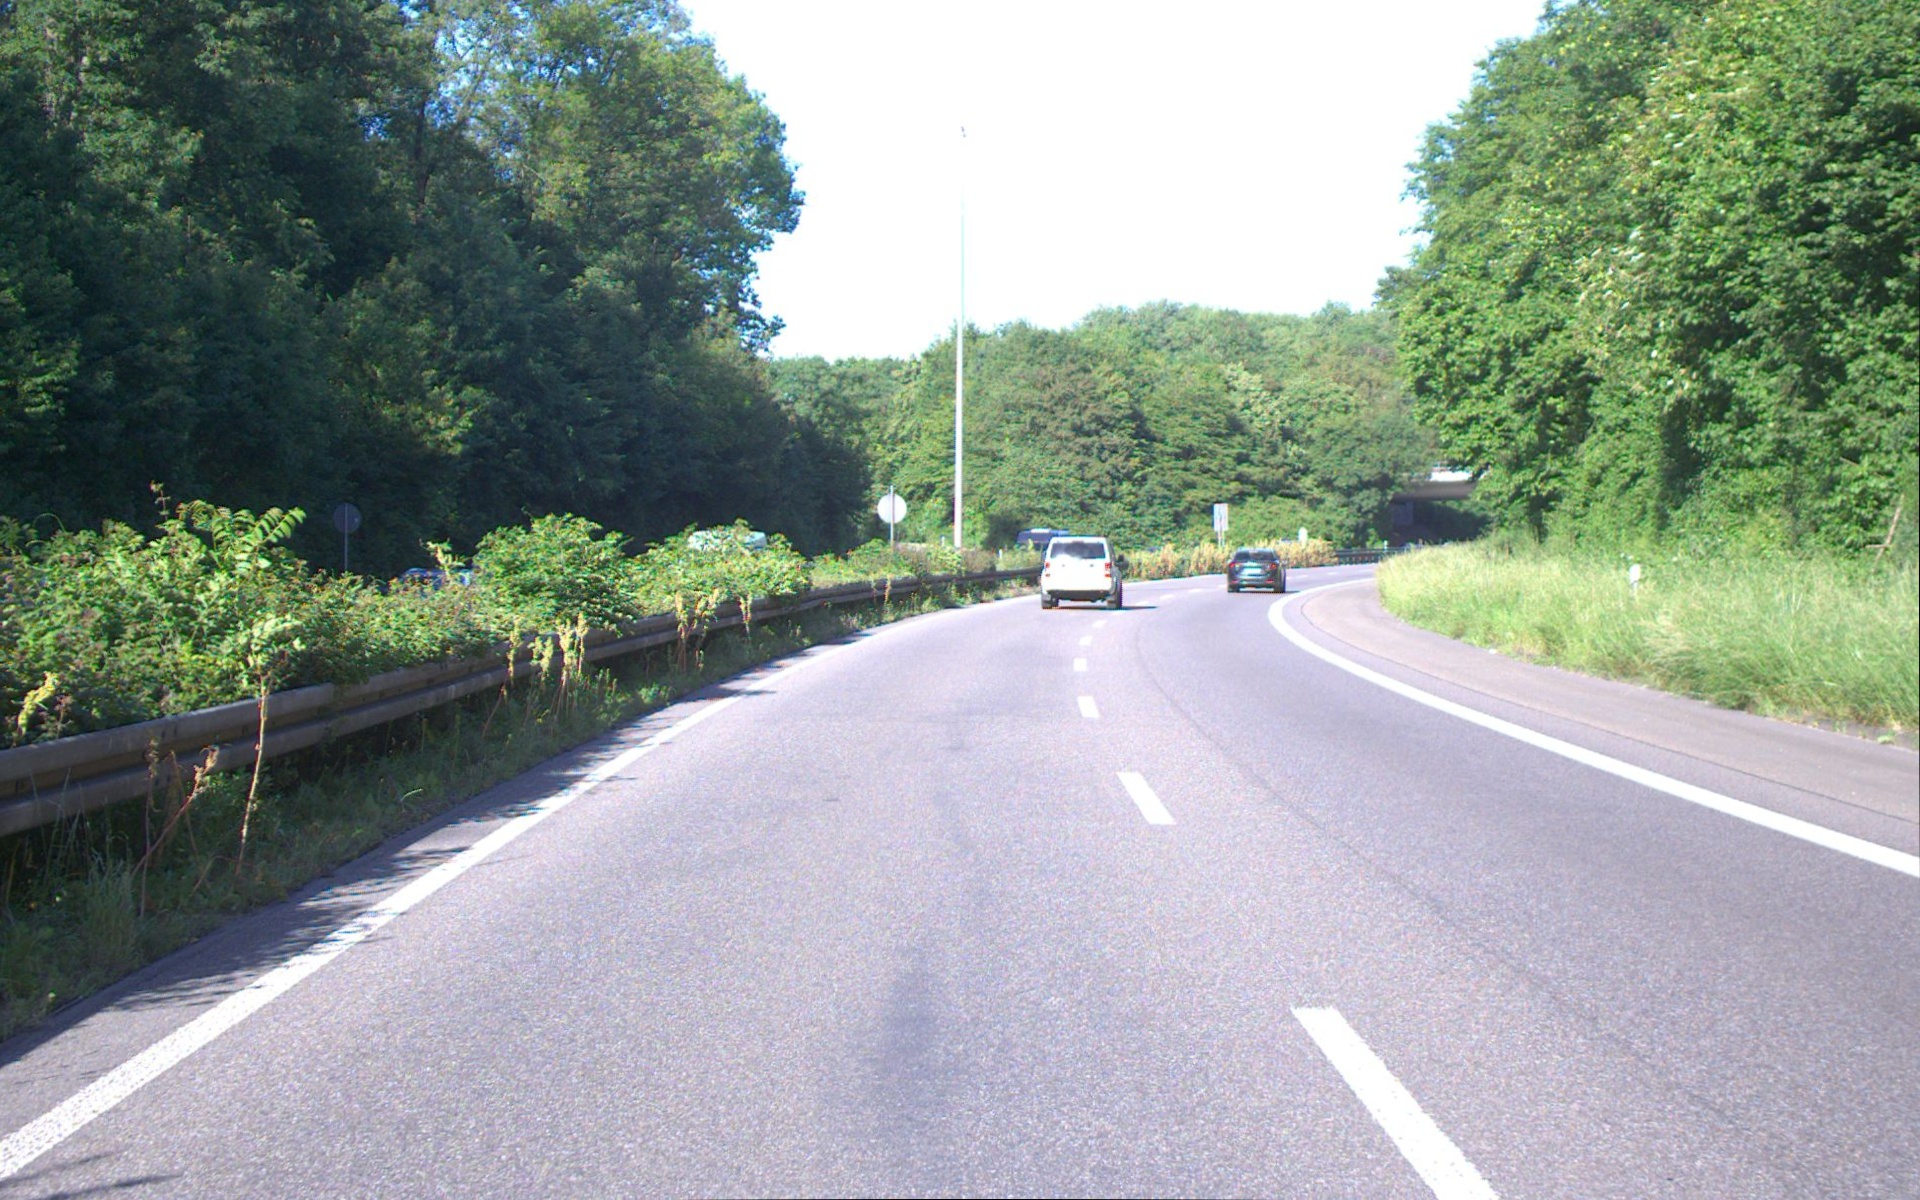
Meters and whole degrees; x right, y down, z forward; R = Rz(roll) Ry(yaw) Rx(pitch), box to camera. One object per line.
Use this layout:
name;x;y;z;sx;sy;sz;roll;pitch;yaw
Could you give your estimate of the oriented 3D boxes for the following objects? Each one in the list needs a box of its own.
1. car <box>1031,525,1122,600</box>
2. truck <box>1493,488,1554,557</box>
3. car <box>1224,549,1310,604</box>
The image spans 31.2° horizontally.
car;2.850;-0.919;85.074;1.951;1.776;4.588;1;0;-2
truck;37.178;-5.043;226.418;3.736;4.328;9.300;1;0;10
car;10.298;-0.781;115.125;1.953;1.776;4.584;1;0;17
